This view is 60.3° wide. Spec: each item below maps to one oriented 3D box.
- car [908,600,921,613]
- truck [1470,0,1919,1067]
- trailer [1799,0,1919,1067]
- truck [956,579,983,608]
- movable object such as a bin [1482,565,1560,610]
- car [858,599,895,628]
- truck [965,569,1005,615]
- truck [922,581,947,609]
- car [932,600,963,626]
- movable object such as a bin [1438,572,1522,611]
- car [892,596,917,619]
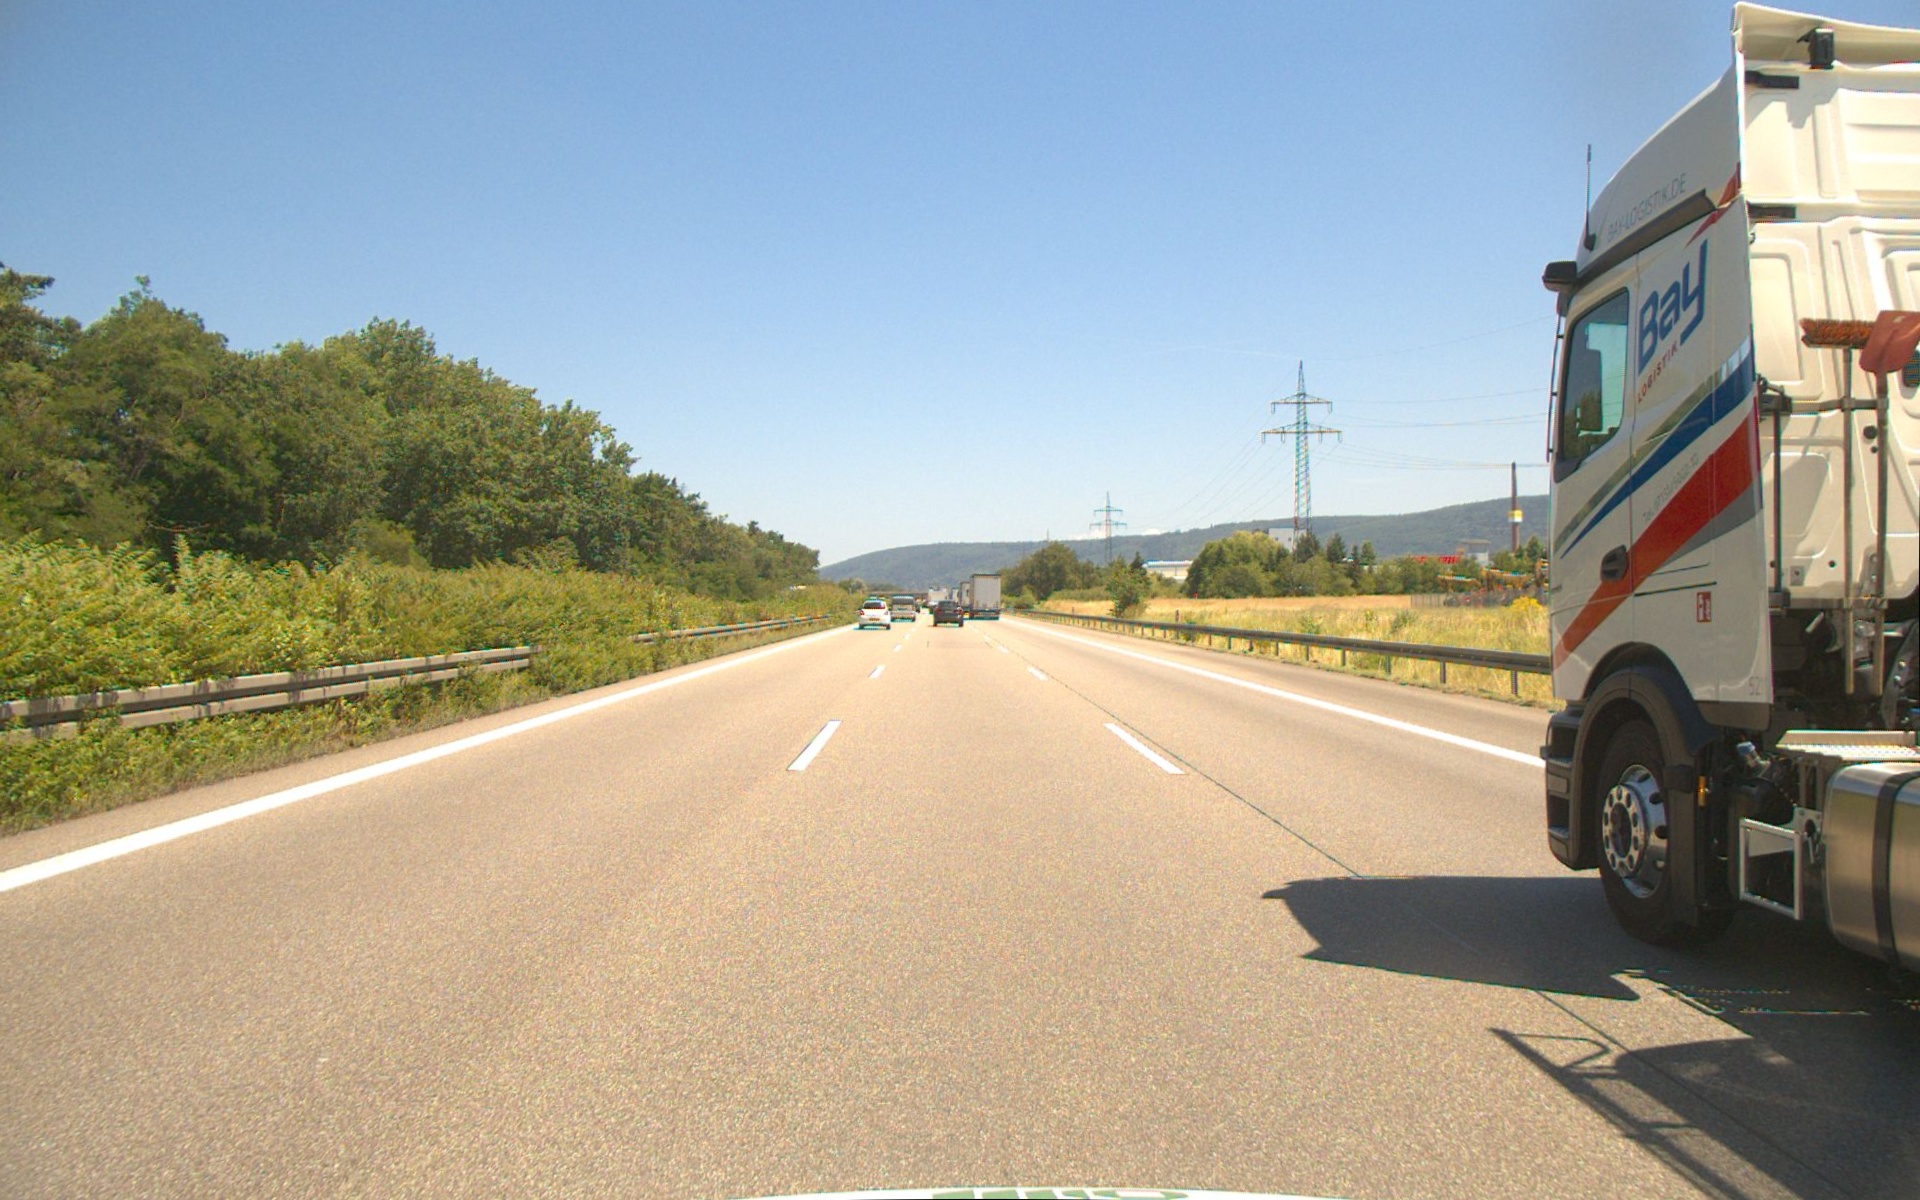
[{"bbox_3d":[-6.363,0.885,231.567,1.814,1.661,3.999,1,0,-1],"label":"car"},{"bbox_3d":[4.334,-0.560,6.456,2.521,4.143,6.391,1,0,-1],"label":"truck"},{"bbox_3d":[4.473,-0.536,0.489,2.528,4.145,11.100,1,0,-1],"label":"trailer"},{"bbox_3d":[1.159,-0.823,211.107,3.034,3.535,11.539,1,0,-1],"label":"truck"},{"bbox_3d":[51.052,-1.108,150.544,6.213,3.797,2.497,-2,0,5],"label":"movable object such as a bin"},{"bbox_3d":[-4.503,0.719,89.620,1.770,1.494,3.999,1,0,-1],"label":"car"},{"bbox_3d":[2.228,-0.728,151.437,3.199,3.925,11.628,1,0,-1],"label":"truck"},{"bbox_3d":[-3.367,-0.616,216.800,3.034,3.535,11.539,1,0,-1],"label":"truck"},{"bbox_3d":[-0.777,0.778,103.202,1.846,1.542,3.999,1,0,-1],"label":"car"},{"bbox_3d":[50.694,-0.811,161.260,7.387,3.461,2.275,-2,0,5],"label":"movable object such as a bin"},{"bbox_3d":[-4.227,0.572,126.569,1.814,1.661,3.999,1,0,-1],"label":"car"}]
